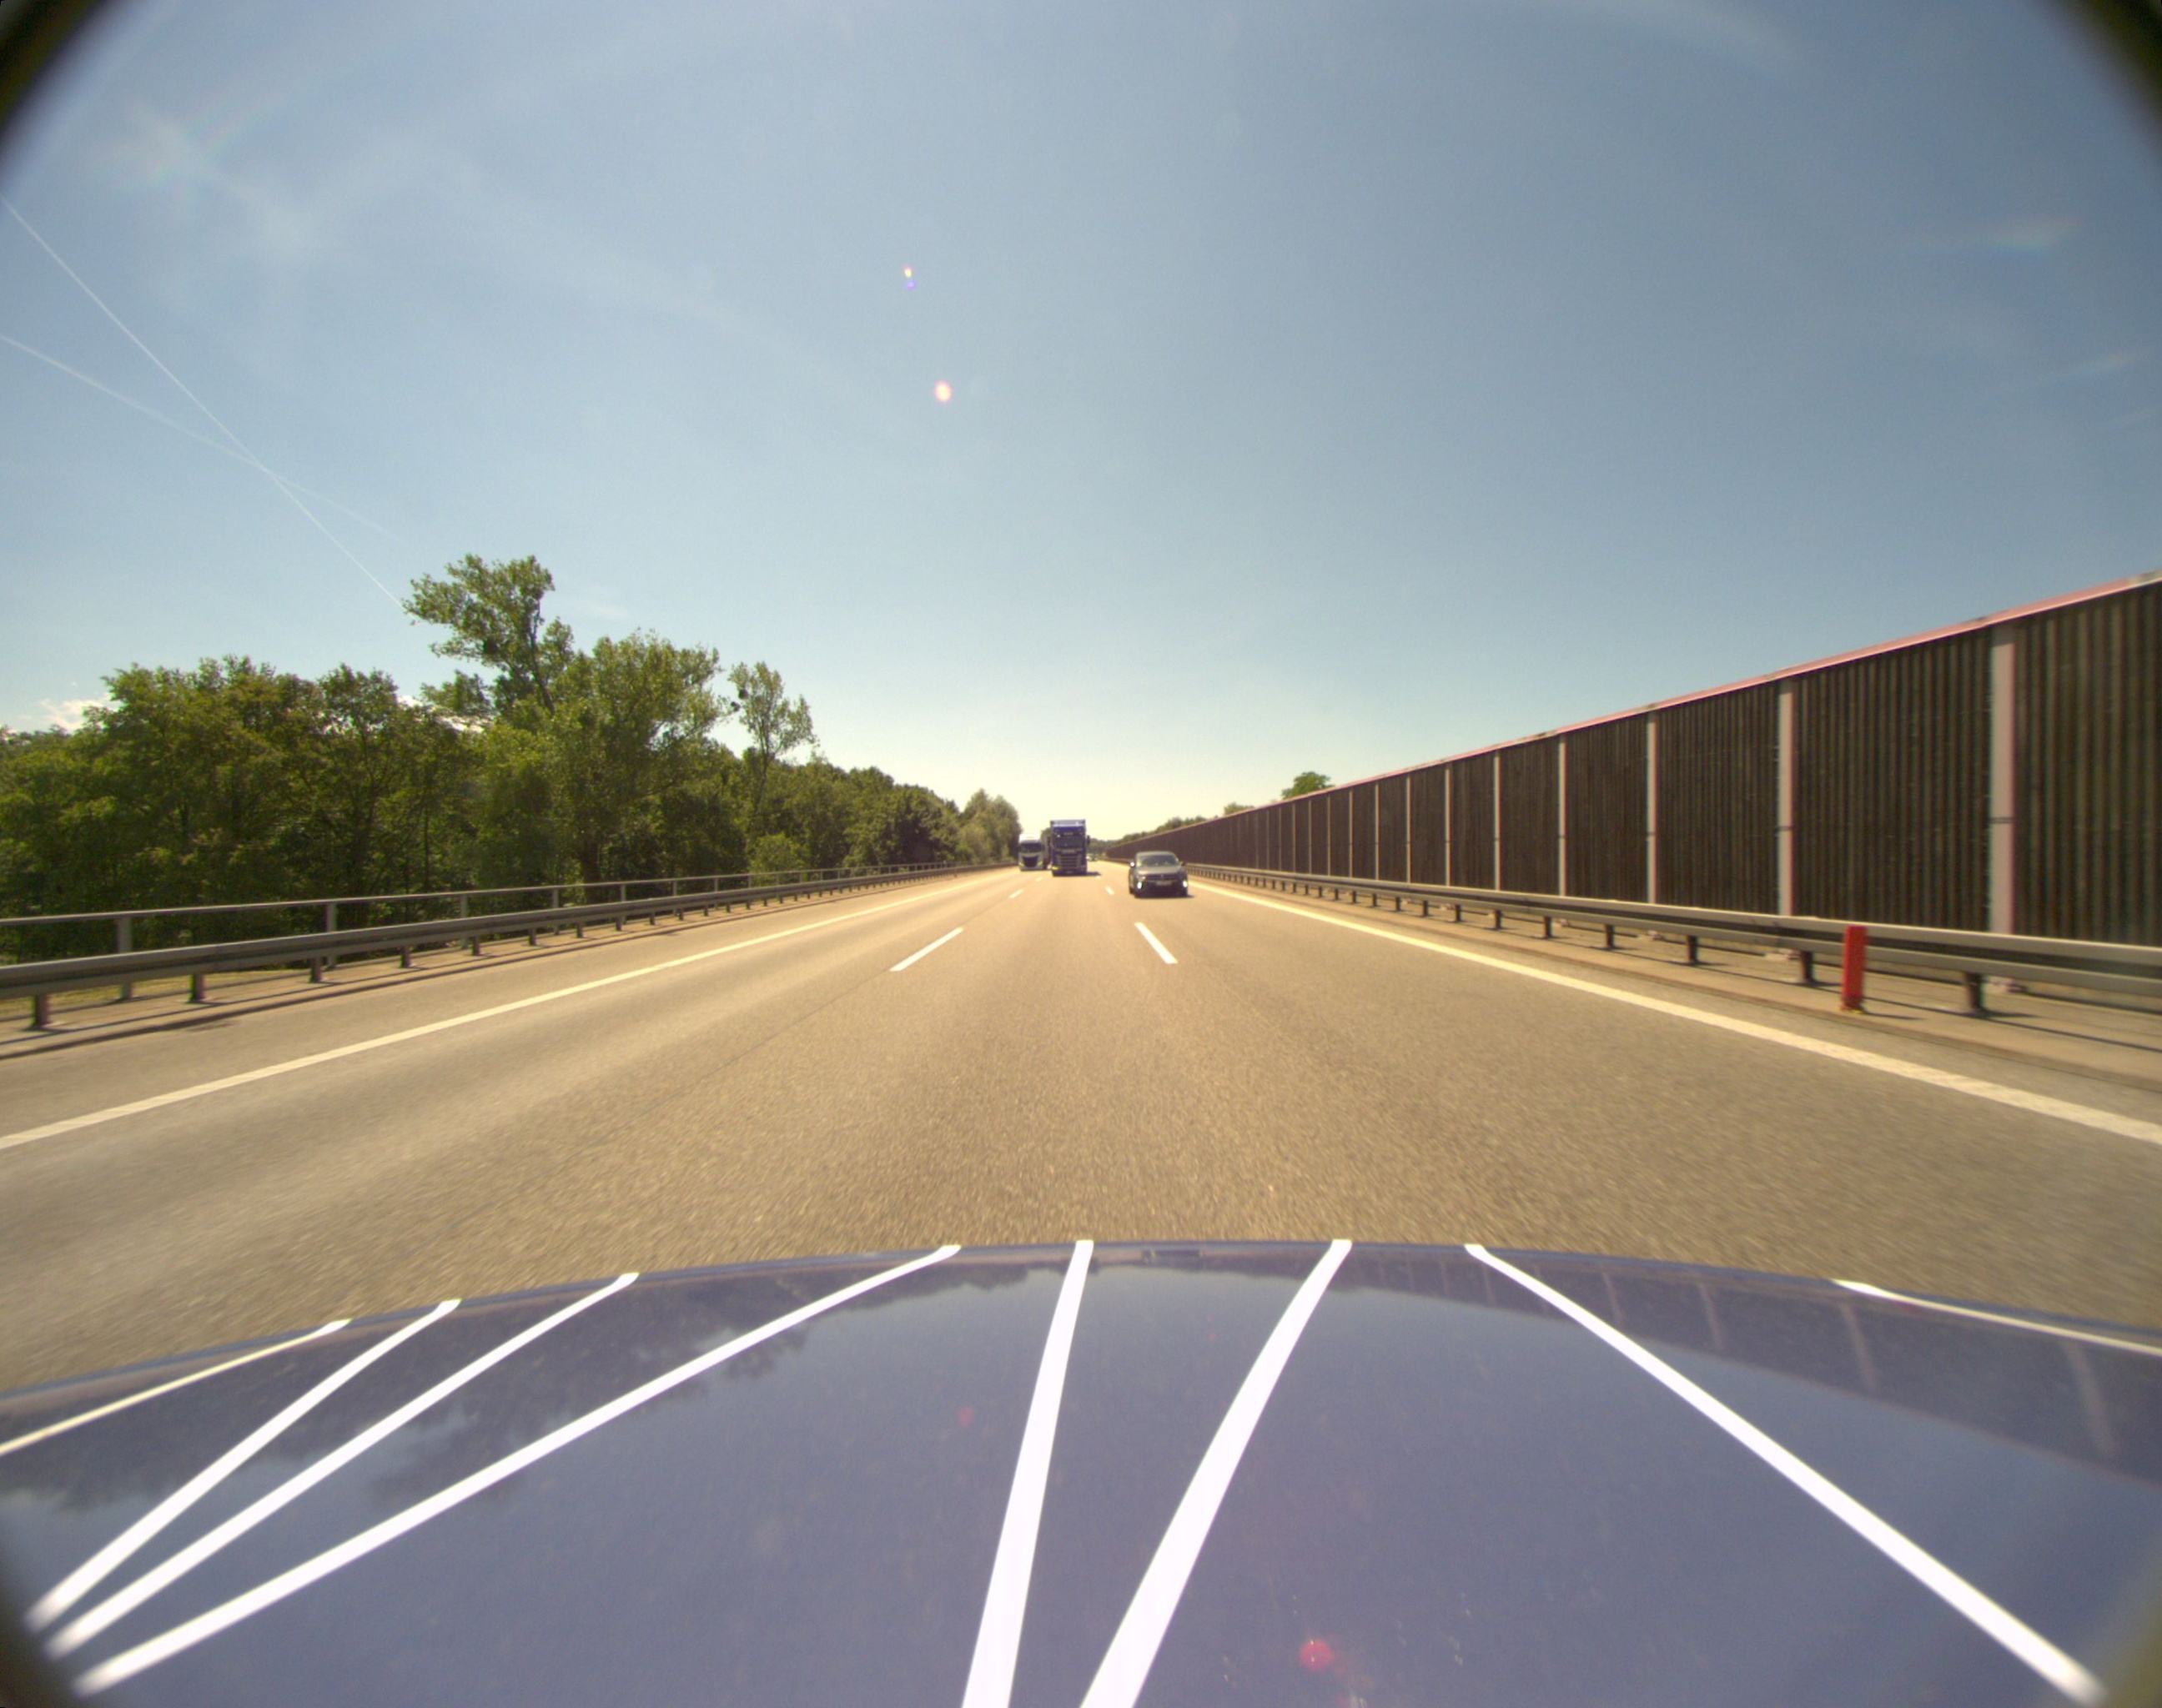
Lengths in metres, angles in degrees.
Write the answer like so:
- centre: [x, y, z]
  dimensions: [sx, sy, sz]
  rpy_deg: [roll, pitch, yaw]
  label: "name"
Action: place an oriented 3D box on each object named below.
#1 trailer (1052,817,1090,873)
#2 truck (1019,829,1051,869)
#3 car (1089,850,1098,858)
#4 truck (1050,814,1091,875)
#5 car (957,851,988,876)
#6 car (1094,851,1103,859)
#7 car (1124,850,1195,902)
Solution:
- centre: [-0.767, -0.667, 62.449]
  dimensions: [2.707, 4.093, 12.131]
  rpy_deg: [-2, 0, 0]
  label: "trailer"
- centre: [-5.018, -0.534, 85.101]
  dimensions: [2.820, 4.139, 10.447]
  rpy_deg: [-2, 0, 0]
  label: "truck"
- centre: [2.797, 0.066, 170.754]
  dimensions: [1.998, 1.717, 4.000]
  rpy_deg: [-2, 0, 1]
  label: "car"
- centre: [-0.739, -0.659, 55.194]
  dimensions: [2.707, 4.094, 6.990]
  rpy_deg: [-2, 0, 0]
  label: "truck"
- centre: [-8.479, 0.702, 59.613]
  dimensions: [1.936, 1.805, 3.999]
  rpy_deg: [-2, 0, -1]
  label: "car"
- centre: [4.080, 0.230, 175.523]
  dimensions: [2.045, 1.559, 4.000]
  rpy_deg: [-2, 0, 0]
  label: "car"
- centre: [2.678, 0.730, 27.110]
  dimensions: [1.885, 1.630, 5.008]
  rpy_deg: [-1, 0, -1]
  label: "car"
